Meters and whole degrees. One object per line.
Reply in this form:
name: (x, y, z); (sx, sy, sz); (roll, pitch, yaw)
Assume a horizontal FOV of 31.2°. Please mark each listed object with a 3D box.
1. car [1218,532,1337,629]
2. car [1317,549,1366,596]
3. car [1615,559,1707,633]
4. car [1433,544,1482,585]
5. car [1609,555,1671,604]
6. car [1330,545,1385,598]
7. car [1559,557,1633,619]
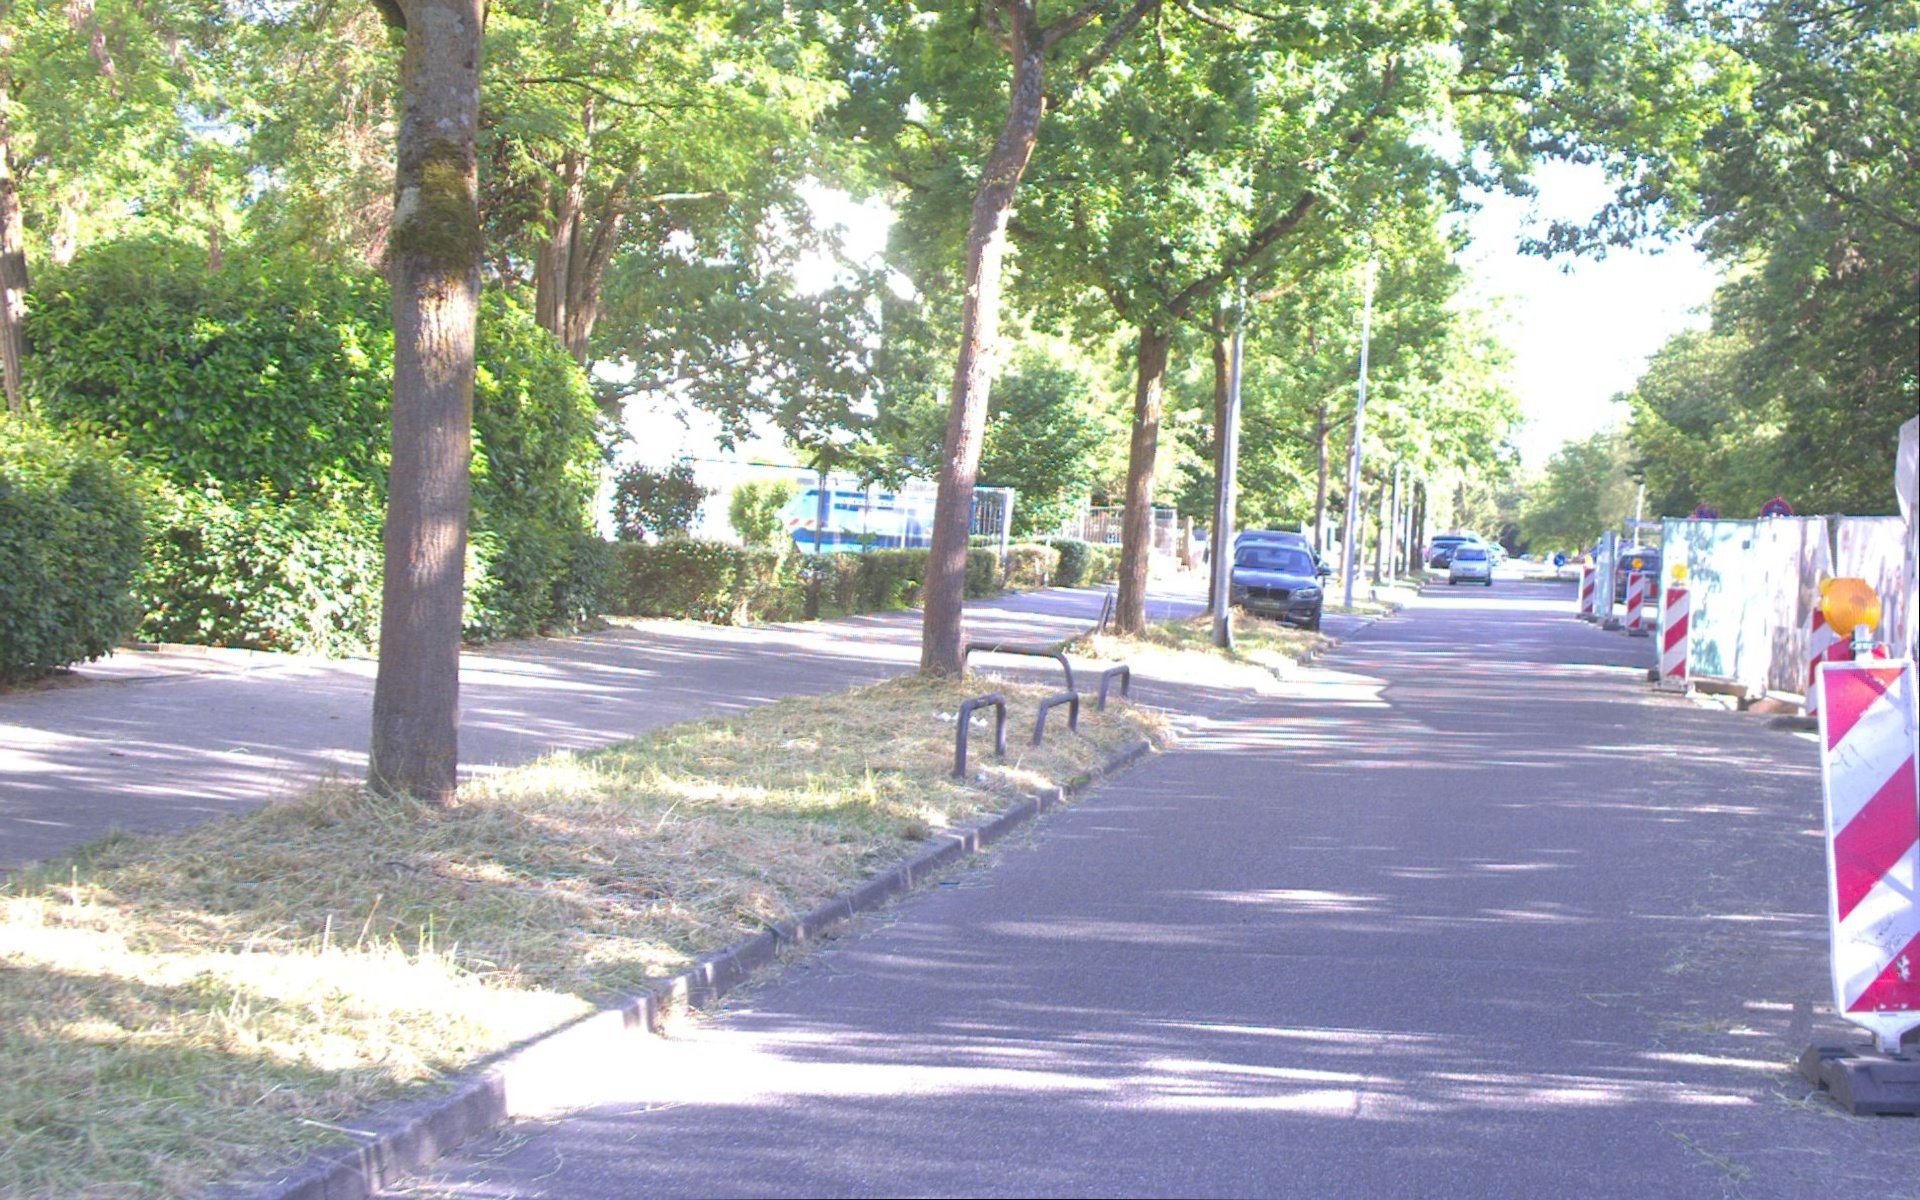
car: (5.389, -0.350, 58.086); (1.751, 1.473, 3.835); (4, 1, 8)
car: (11.560, -0.824, 104.080); (1.362, 1.297, 3.480); (4, 1, 7)
car: (13.519, -0.078, 66.424); (1.362, 1.297, 3.480); (4, 1, 7)
car: (20.742, -1.469, 143.338); (1.711, 1.579, 3.999); (4, 1, 5)
car: (21.453, -0.664, 108.500); (1.795, 1.405, 3.998); (4, 1, 11)
car: (10.719, -0.750, 92.736); (1.362, 1.297, 3.480); (4, 1, 7)
car: (14.674, -0.287, 79.370); (1.362, 1.297, 3.480); (4, 1, 7)
